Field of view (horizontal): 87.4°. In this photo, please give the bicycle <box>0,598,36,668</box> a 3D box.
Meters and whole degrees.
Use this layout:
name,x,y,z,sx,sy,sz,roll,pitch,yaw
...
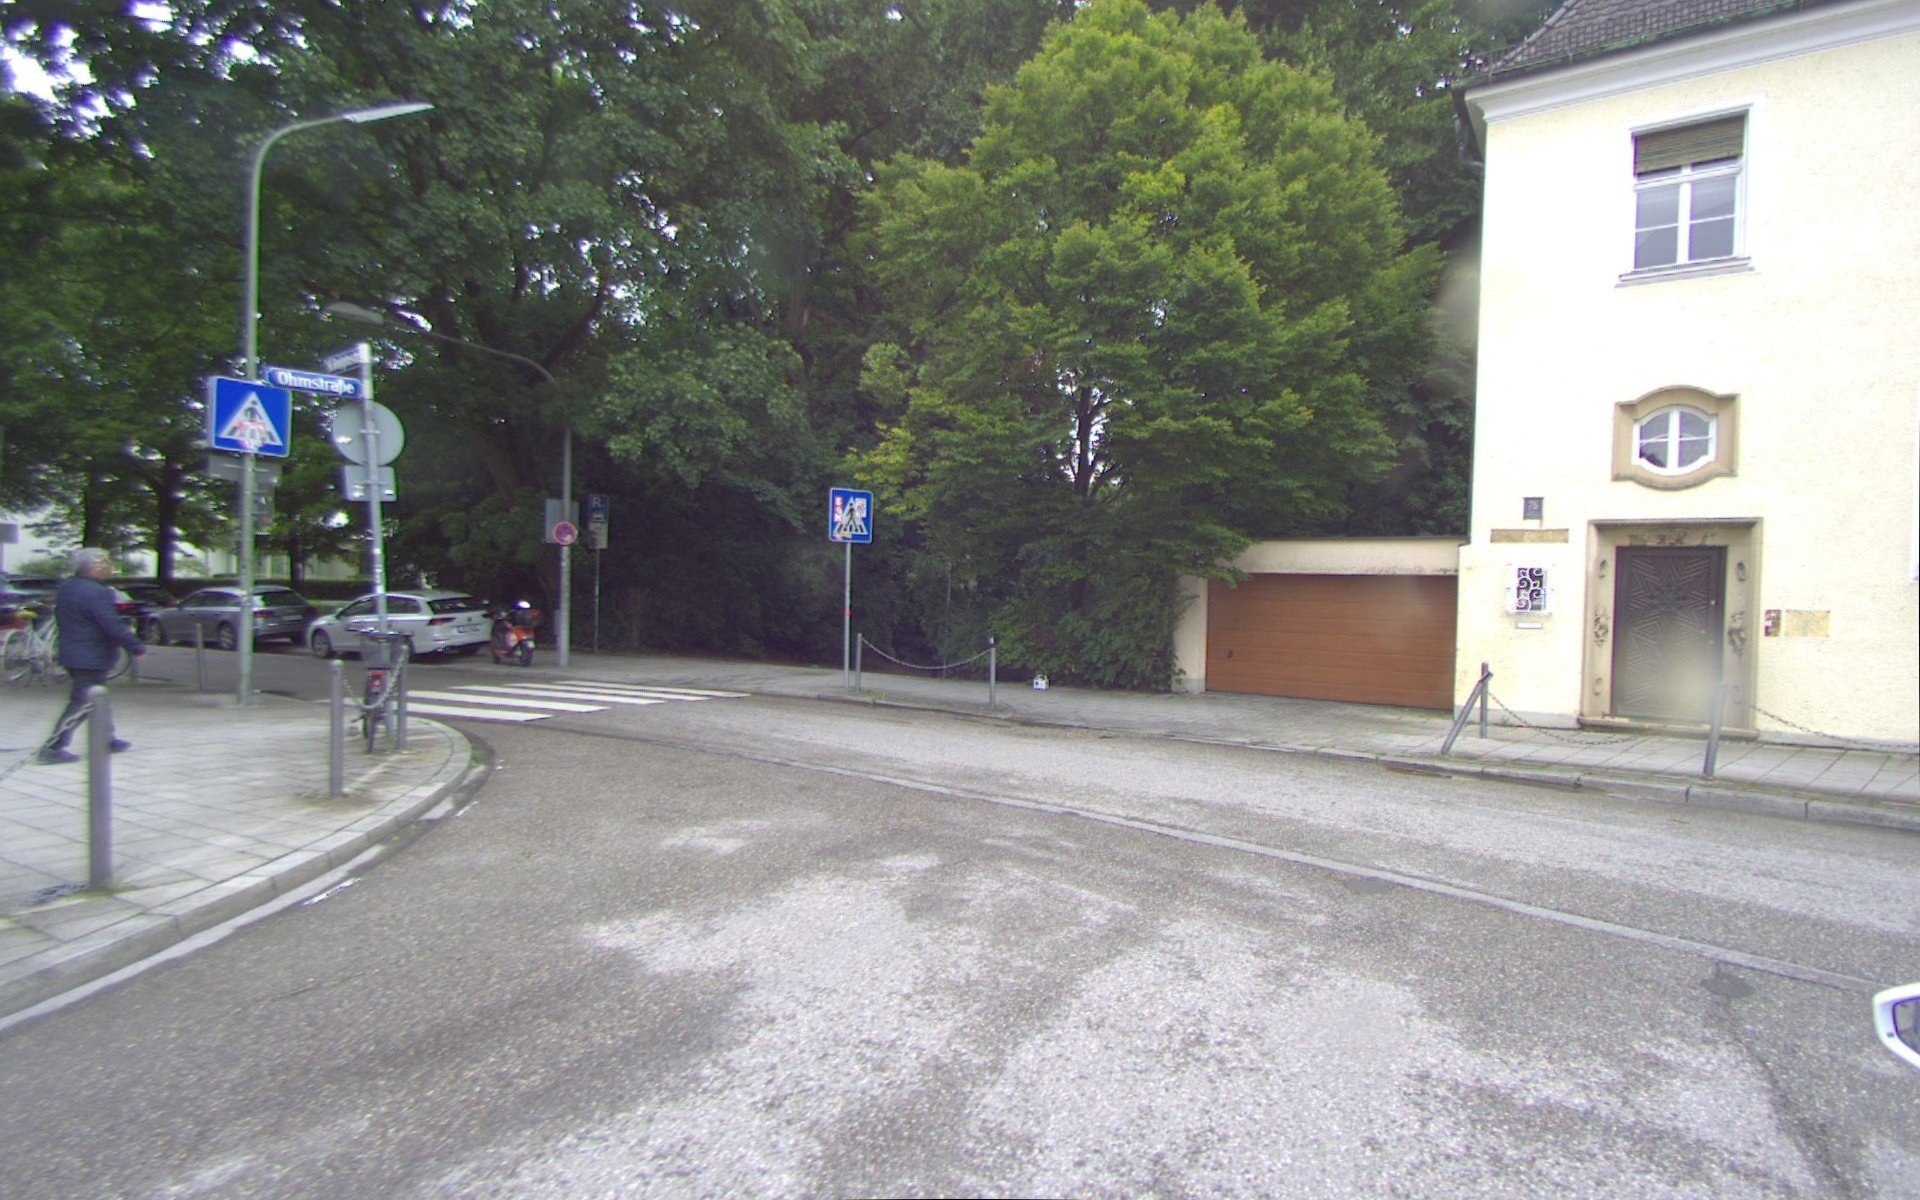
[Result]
name,x,y,z,sx,sy,sz,roll,pitch,yaw
bicycle,-16.647,0.550,16.815,0.505,1.162,1.675,3,0,43

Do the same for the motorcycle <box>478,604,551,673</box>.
name,x,y,z,sx,sy,sz,roll,pitch,yaw
motorcycle,-8.679,0.712,19.532,0.851,1.200,1.984,-2,3,-37

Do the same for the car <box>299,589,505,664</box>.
name,x,y,z,sx,sy,sz,roll,pitch,yaw
car,-12.248,0.542,22.037,4.350,1.468,1.624,1,0,23

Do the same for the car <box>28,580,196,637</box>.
name,x,y,z,sx,sy,sz,roll,pitch,yaw
car,-23.345,0.229,27.644,4.430,1.451,1.776,1,-1,24

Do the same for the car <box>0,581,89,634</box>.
name,x,y,z,sx,sy,sz,roll,pitch,yaw
car,-27.977,0.202,29.605,4.430,1.451,1.776,1,-1,24

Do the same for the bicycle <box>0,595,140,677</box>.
name,x,y,z,sx,sy,sz,roll,pitch,yaw
bicycle,-13.492,0.539,15.132,0.505,1.162,1.699,3,0,43

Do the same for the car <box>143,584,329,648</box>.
name,x,y,z,sx,sy,sz,roll,pitch,yaw
car,-18.057,0.386,25.051,4.430,1.451,1.776,1,-1,24

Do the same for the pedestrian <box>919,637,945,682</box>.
name,x,y,z,sx,sy,sz,roll,pitch,yaw
pedestrian,-0.773,1.609,27.371,0.464,1.171,0.496,2,0,33

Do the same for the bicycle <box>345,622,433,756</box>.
name,x,y,z,sx,sy,sz,roll,pitch,yaw
bicycle,-5.214,0.763,9.252,0.505,1.023,1.995,2,0,-25

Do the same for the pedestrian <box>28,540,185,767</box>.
name,x,y,z,sx,sy,sz,roll,pitch,yaw
pedestrian,-6.701,0.389,7.896,0.799,1.663,0.724,2,0,34

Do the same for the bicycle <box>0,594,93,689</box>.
name,x,y,z,sx,sy,sz,roll,pitch,yaw
bicycle,-12.101,0.519,13.274,0.505,1.162,1.673,2,0,-25

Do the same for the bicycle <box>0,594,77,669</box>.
name,x,y,z,sx,sy,sz,roll,pitch,yaw
bicycle,-15.218,0.497,15.994,0.505,1.162,1.675,3,0,43

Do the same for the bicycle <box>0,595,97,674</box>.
name,x,y,z,sx,sy,sz,roll,pitch,yaw
bicycle,-14.304,0.523,15.320,0.459,1.162,1.675,3,0,43
